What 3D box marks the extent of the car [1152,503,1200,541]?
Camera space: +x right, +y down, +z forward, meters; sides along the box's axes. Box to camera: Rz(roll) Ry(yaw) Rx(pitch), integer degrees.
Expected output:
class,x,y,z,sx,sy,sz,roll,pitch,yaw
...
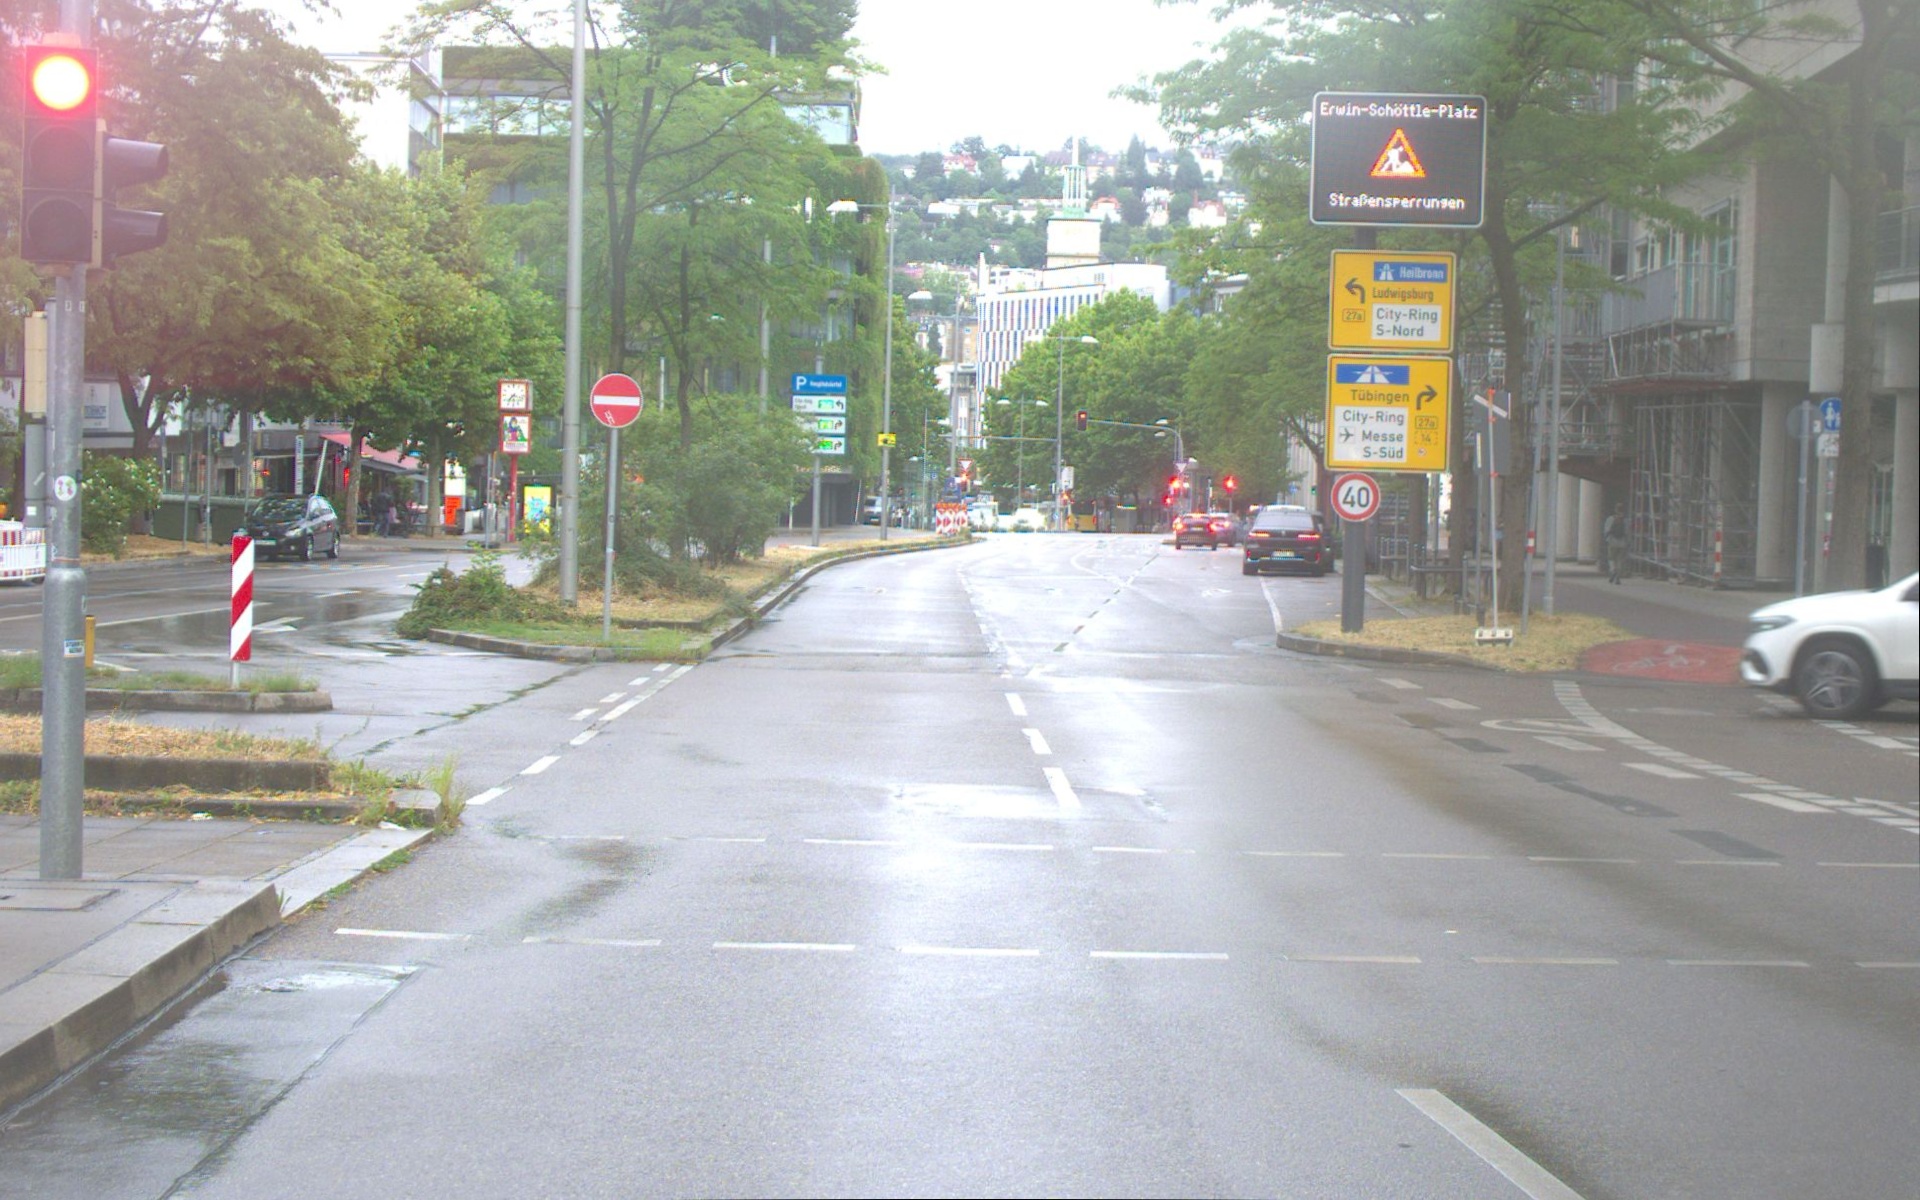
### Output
class,x,y,z,sx,sy,sz,roll,pitch,yaw
car,10.456,-3.770,166.791,1.993,1.730,4.000,1,1,-1

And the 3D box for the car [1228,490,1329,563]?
class,x,y,z,sx,sy,sz,roll,pitch,yaw
car,7.760,-1.797,83.418,2.339,1.685,3.999,1,2,6

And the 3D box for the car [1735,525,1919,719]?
class,x,y,z,sx,sy,sz,roll,pitch,yaw
car,9.112,0.214,30.040,4.291,1.634,1.832,2,1,22

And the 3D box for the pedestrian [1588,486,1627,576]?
class,x,y,z,sx,sy,sz,roll,pitch,yaw
pedestrian,13.777,-1.465,73.207,0.775,1.914,0.702,1,0,10

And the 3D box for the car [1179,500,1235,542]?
class,x,y,z,sx,sy,sz,roll,pitch,yaw
car,10.467,-3.348,145.977,1.993,1.718,4.000,1,1,-1
